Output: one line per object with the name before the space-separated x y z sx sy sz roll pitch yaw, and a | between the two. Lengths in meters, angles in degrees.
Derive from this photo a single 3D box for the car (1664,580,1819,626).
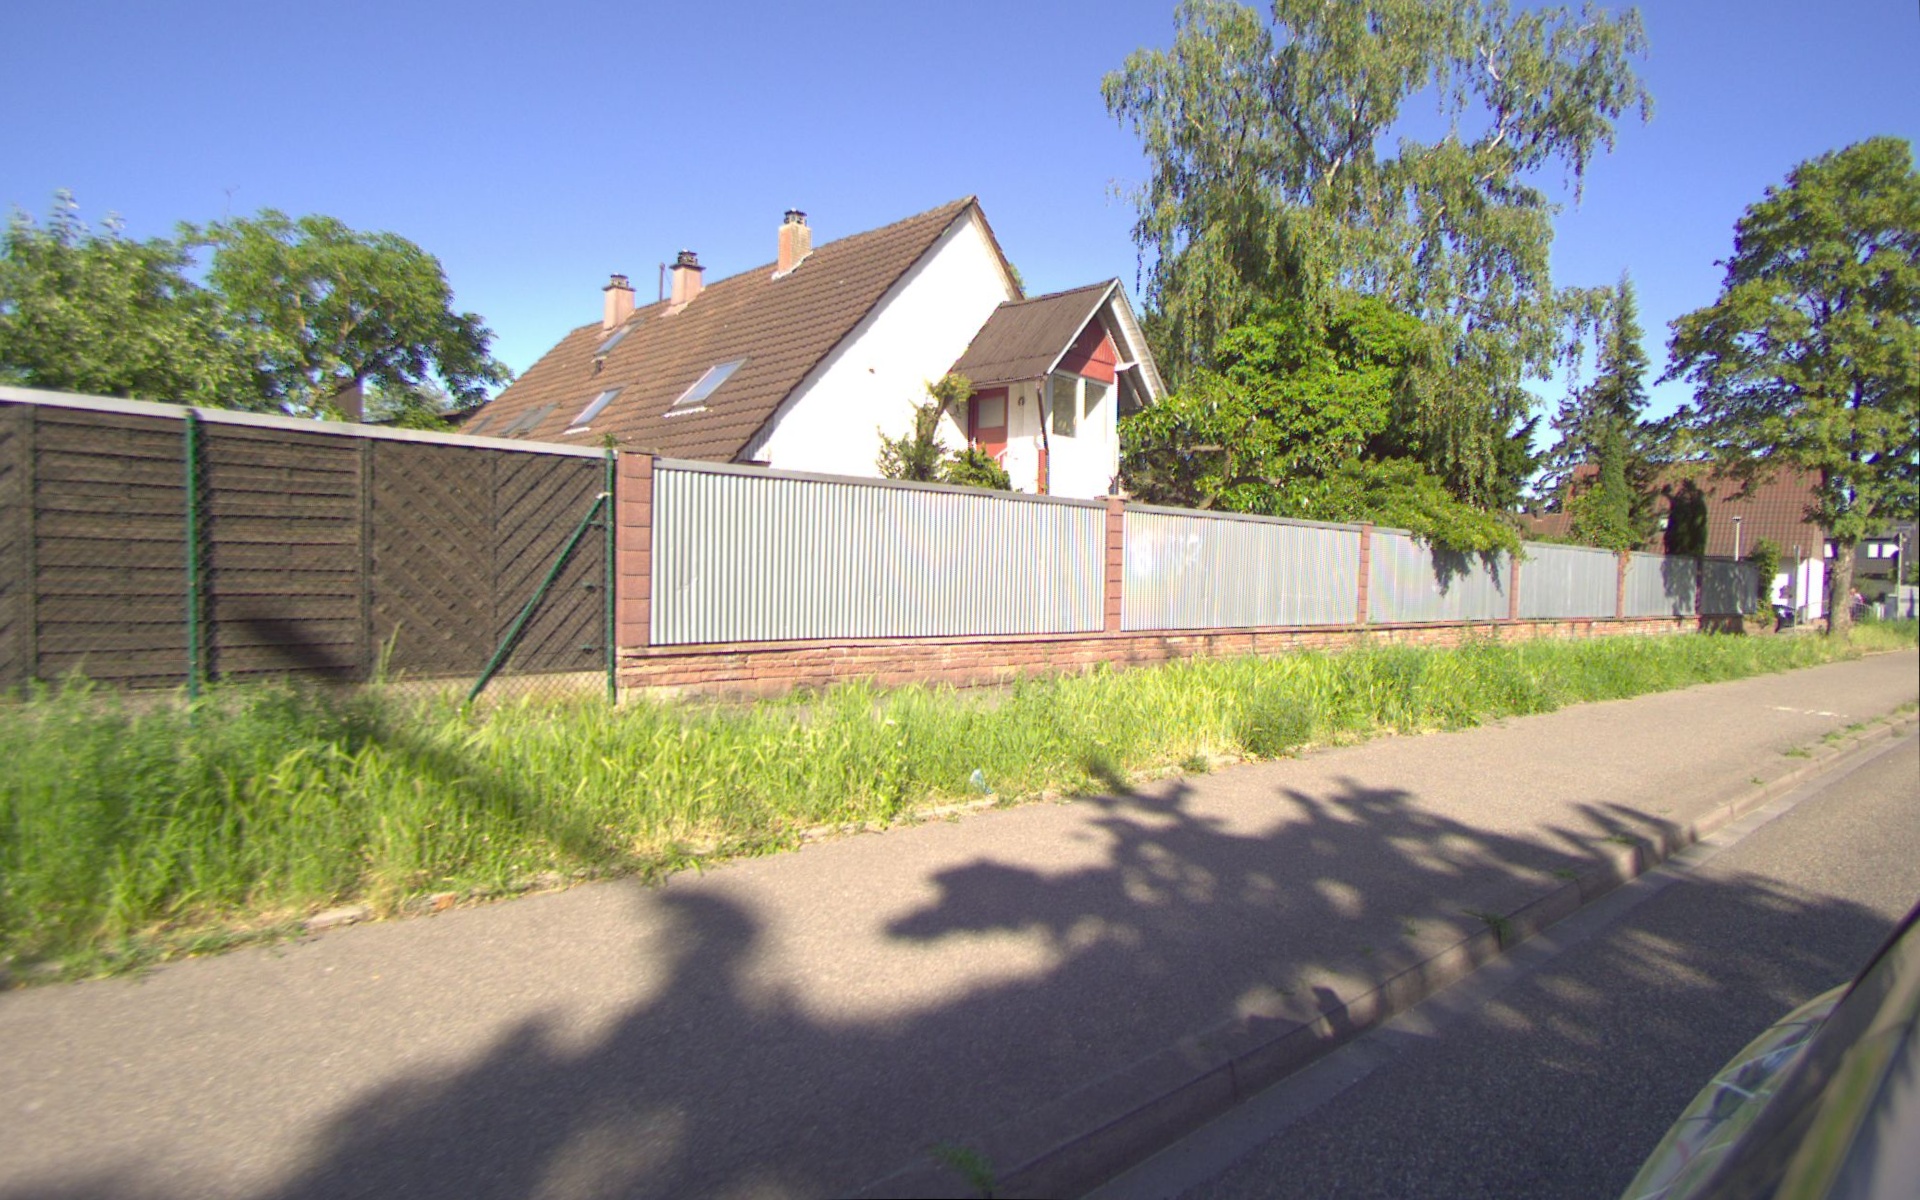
car | 31.808 0.074 41.288 2.037 1.677 4.746 0 2 -44

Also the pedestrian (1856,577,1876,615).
pedestrian | 40.992 -0.194 45.792 0.627 1.729 0.606 1 1 38
